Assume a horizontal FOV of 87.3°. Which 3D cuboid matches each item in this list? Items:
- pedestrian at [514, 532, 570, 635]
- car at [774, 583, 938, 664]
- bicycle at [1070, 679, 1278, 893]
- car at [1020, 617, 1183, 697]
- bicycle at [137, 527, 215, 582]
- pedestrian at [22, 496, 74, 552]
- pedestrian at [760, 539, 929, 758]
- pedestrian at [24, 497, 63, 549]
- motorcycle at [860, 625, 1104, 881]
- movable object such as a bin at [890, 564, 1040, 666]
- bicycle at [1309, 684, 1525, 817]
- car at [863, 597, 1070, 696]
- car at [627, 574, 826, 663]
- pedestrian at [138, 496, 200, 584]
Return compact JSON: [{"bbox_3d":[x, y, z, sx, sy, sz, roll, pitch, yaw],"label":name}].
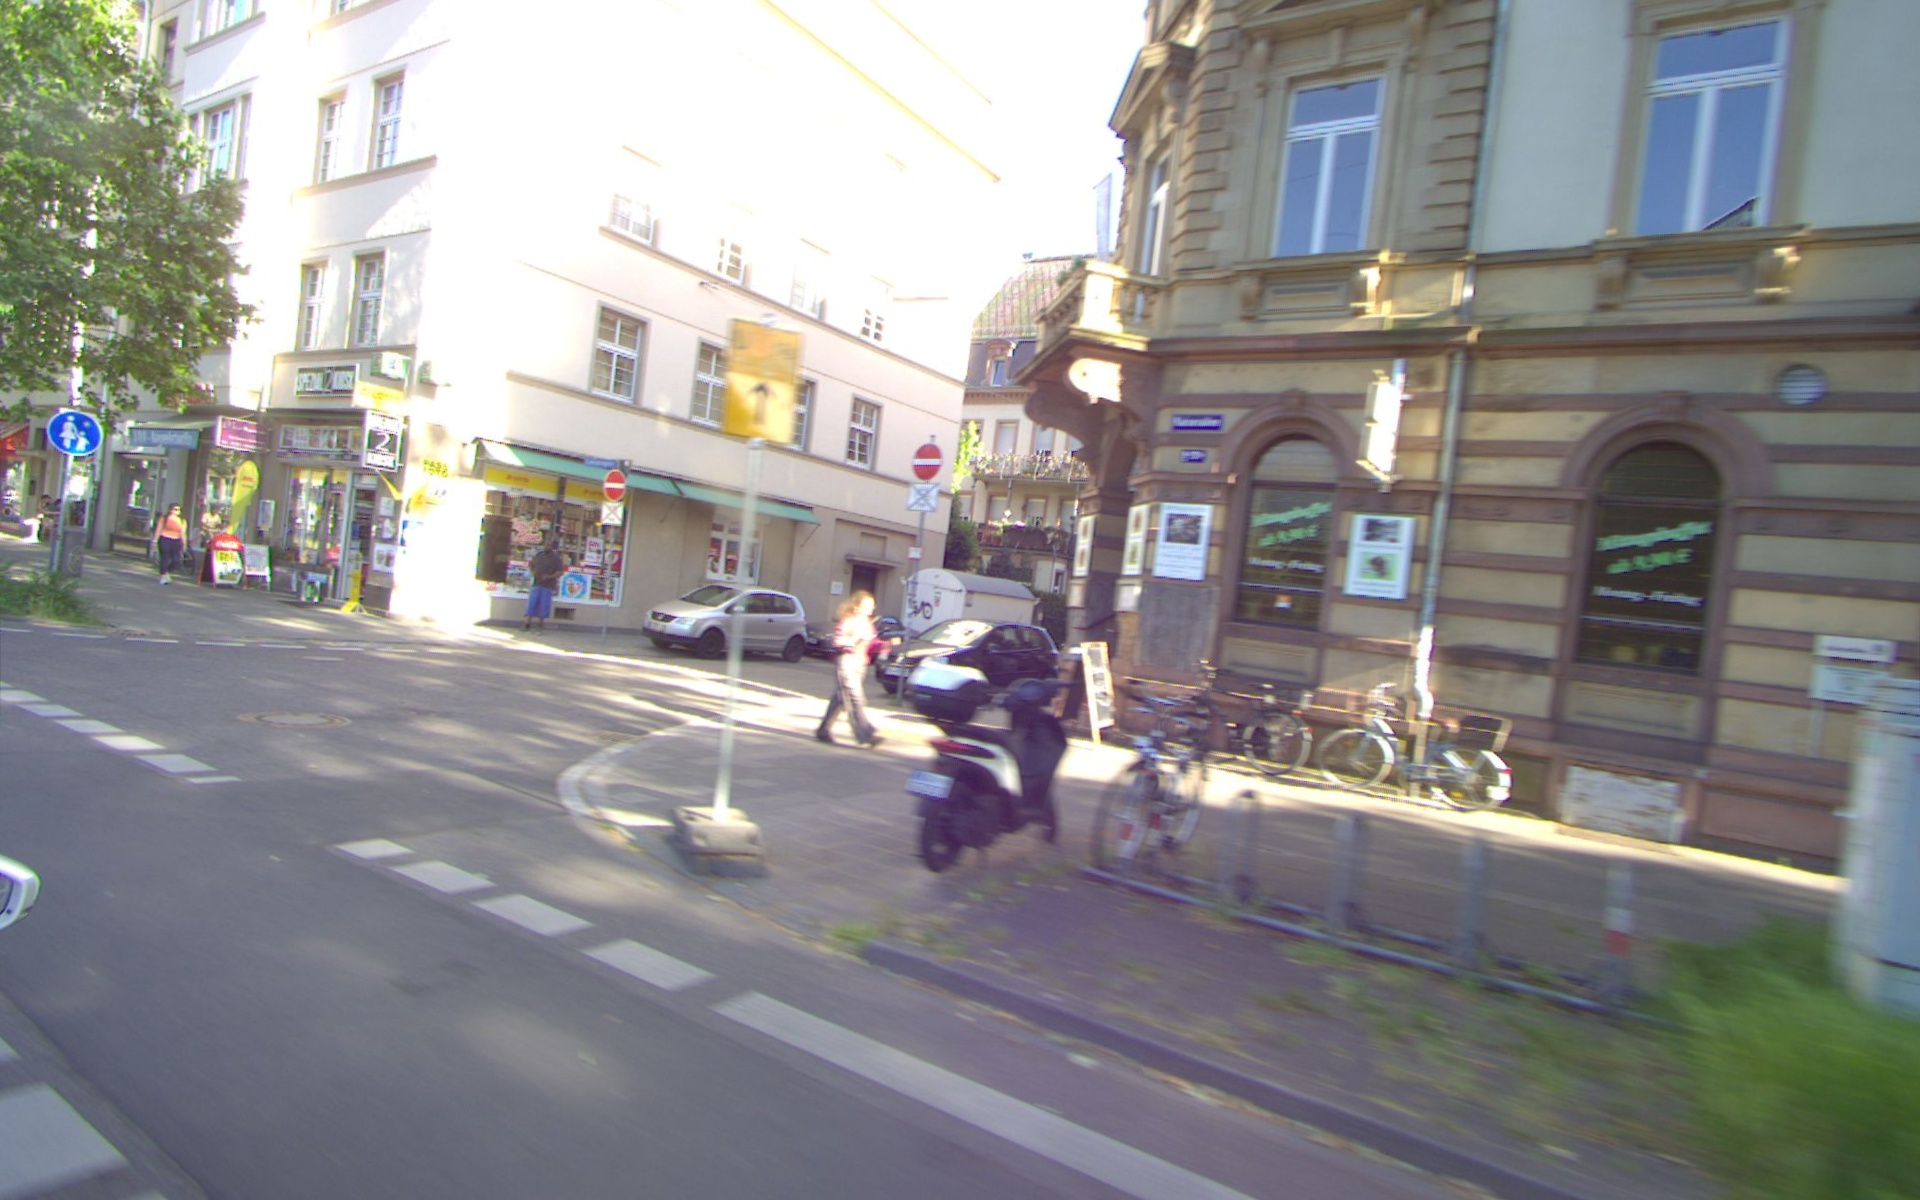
[{"bbox_3d":[-8.222,-0.315,19.814,0.577,1.926,0.553,7,-1,21],"label":"pedestrian"},{"bbox_3d":[-2.529,0.635,25.288,1.815,1.615,3.988,7,0,35],"label":"car"},{"bbox_3d":[1.472,1.134,6.523,0.448,1.106,2.226,7,-2,33],"label":"bicycle"},{"bbox_3d":[3.197,1.303,22.123,1.675,1.422,3.985,7,0,38],"label":"car"},{"bbox_3d":[-18.013,-1.058,23.087,2.579,1.037,0.490,6,2,32],"label":"bicycle"},{"bbox_3d":[-24.923,-2.078,27.482,0.843,1.387,0.785,7,1,32],"label":"pedestrian"},{"bbox_3d":[-1.166,0.495,10.275,1.029,2.037,1.089,7,-1,33],"label":"pedestrian"},{"bbox_3d":[-25.577,-2.139,28.072,0.807,1.349,0.535,7,1,32],"label":"pedestrian"},{"bbox_3d":[0.223,0.873,6.074,0.507,1.245,1.954,7,-2,28],"label":"motorcycle"},{"bbox_3d":[0.203,0.483,29.260,2.505,2.576,3.777,4,-2,35],"label":"movable object such as a bin"},{"bbox_3d":[4.574,1.475,10.140,1.851,1.009,0.415,6,0,32],"label":"bicycle"},{"bbox_3d":[0.222,0.895,18.129,1.612,1.429,3.908,7,0,37],"label":"car"},{"bbox_3d":[-4.885,0.447,21.492,1.640,1.492,3.940,7,0,35],"label":"car"},{"bbox_3d":[-15.793,-1.183,20.087,0.553,1.641,0.683,7,0,29],"label":"pedestrian"}]
